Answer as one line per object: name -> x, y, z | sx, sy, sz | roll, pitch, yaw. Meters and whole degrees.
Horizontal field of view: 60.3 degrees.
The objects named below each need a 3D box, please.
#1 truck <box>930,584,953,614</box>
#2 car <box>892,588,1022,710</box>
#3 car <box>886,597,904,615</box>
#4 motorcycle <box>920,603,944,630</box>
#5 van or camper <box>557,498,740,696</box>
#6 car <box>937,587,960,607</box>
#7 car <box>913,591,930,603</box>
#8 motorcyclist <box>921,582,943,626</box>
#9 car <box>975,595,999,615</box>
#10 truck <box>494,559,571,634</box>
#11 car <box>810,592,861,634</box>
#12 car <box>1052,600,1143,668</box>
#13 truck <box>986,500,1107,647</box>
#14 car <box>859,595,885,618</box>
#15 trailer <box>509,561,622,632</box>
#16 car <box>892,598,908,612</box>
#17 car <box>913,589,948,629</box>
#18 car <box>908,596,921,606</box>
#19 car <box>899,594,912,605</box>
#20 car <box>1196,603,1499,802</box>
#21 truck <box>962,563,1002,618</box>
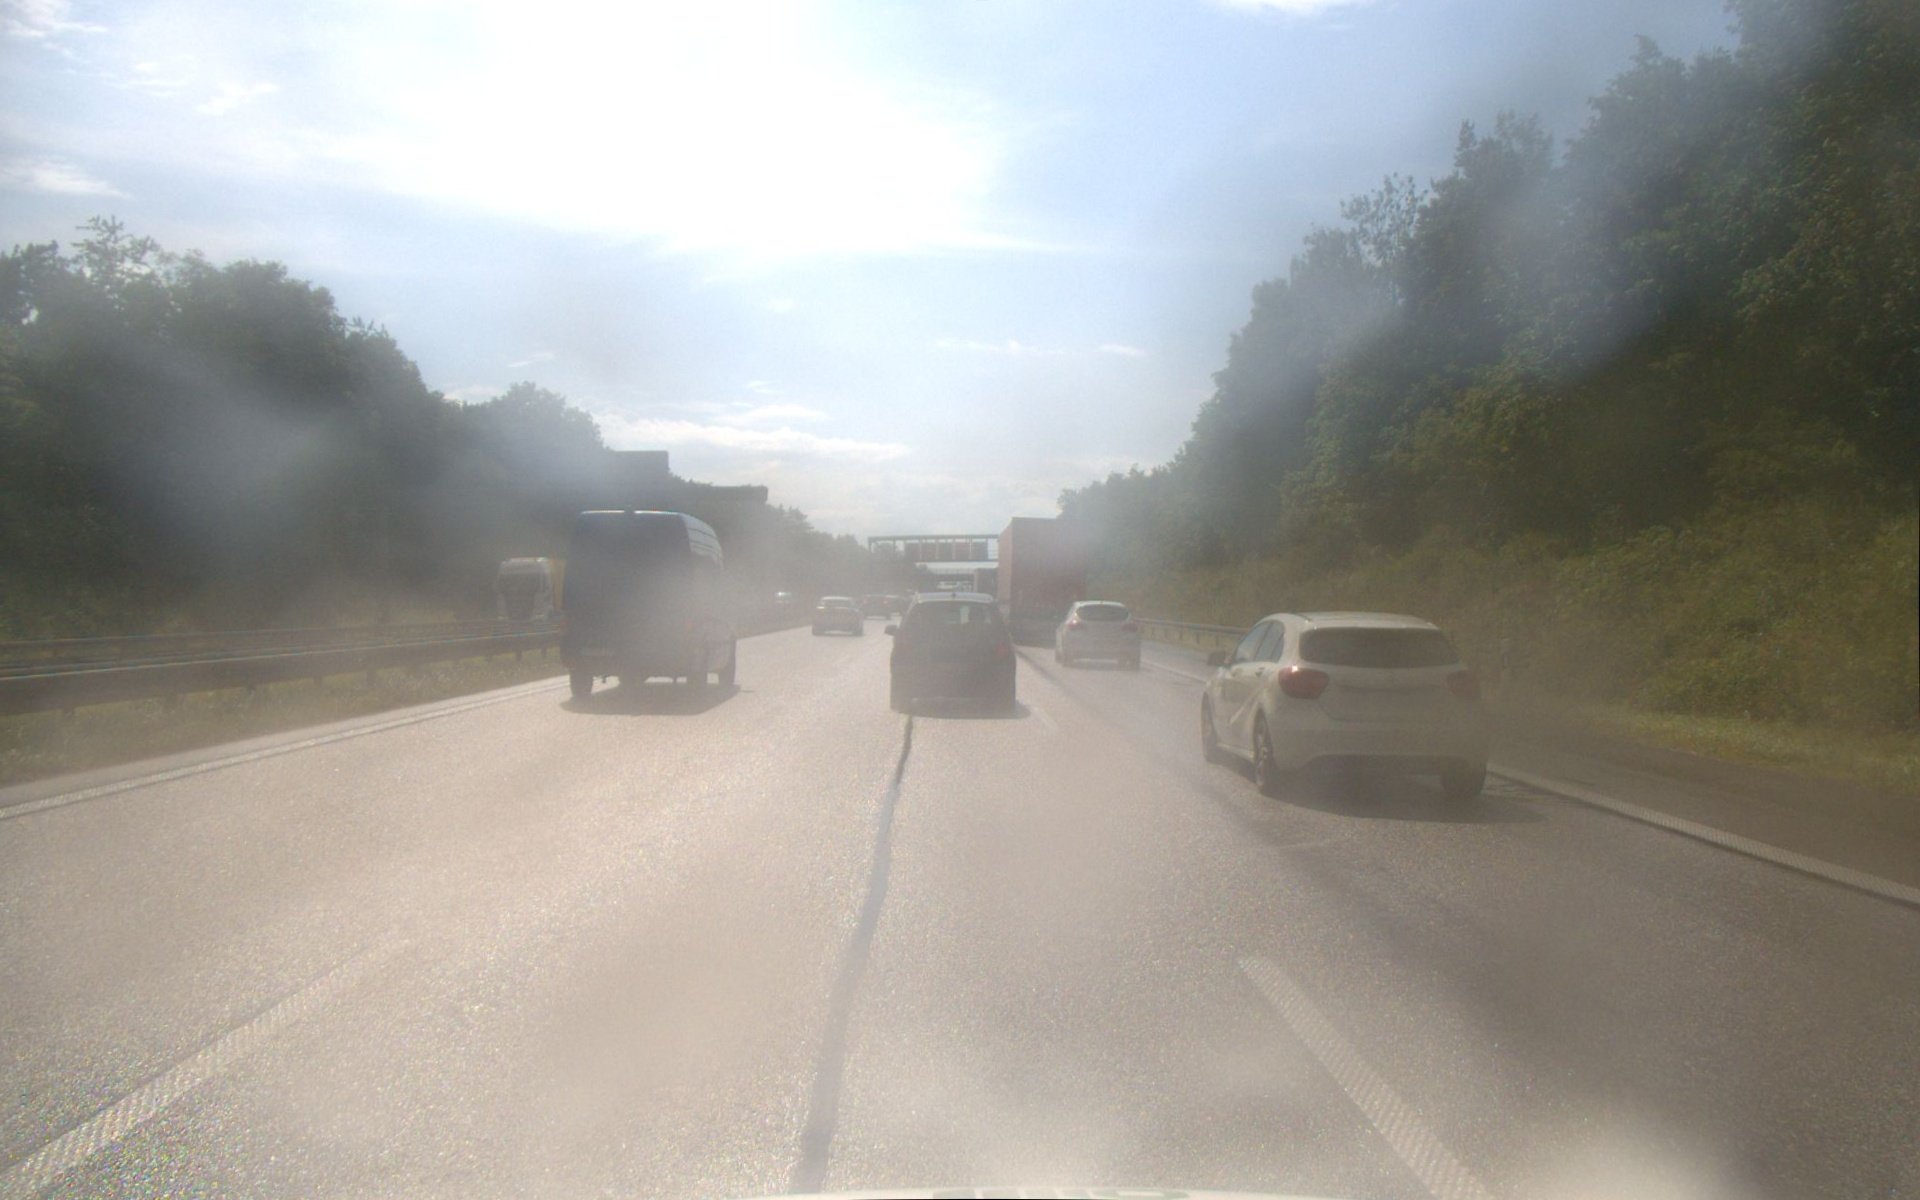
truck -> -1.853, -0.059, 165.627 | 2.148, 2.925, 4.847 | 1, 0, -2
car -> -0.100, 0.646, 23.560 | 1.683, 1.595, 3.483 | 1, 0, -2
car -> -5.414, 0.495, 137.551 | 1.431, 1.418, 3.310 | 1, 0, -2
motorcycle -> -1.094, 0.619, 63.550 | 0.873, 1.018, 2.895 | 1, 0, -2
van or camper -> -4.664, -0.040, 25.598 | 1.953, 2.715, 5.382 | 1, 0, -2
car -> -0.843, -0.202, 116.953 | 1.521, 1.407, 3.208 | 1, 0, -2
car -> -5.293, -0.429, 229.380 | 1.951, 1.731, 4.002 | 0, 0, 4
motorcyclist -> -1.070, 0.147, 63.507 | 0.785, 1.662, 1.013 | 1, 0, -2
car -> 1.938, 0.331, 117.445 | 1.521, 1.407, 3.208 | 1, 0, -2
truck -> -22.371, -0.180, 86.880 | 2.667, 3.728, 5.330 | 1, 0, -1
car -> -4.844, 0.495, 64.776 | 1.817, 1.578, 3.483 | 1, 0, -2
car -> 3.159, 0.752, 38.604 | 1.647, 1.467, 3.903 | 1, 0, -2
truck -> 2.972, -0.891, 62.965 | 3.575, 4.803, 16.777 | 1, 0, 0
car -> -5.919, 0.417, 111.628 | 1.716, 1.482, 3.388 | 1, 0, -2
trailer -> -22.445, -0.189, 95.309 | 2.667, 3.708, 16.674 | 1, 0, -1
car -> -5.897, 0.500, 162.479 | 1.518, 1.289, 3.483 | 1, 0, -2
car -> -1.378, 0.404, 76.308 | 1.501, 1.777, 3.483 | 1, 0, -2
car -> -5.727, 0.137, 208.940 | 1.518, 1.289, 3.483 | 1, 0, -2
car -> -6.448, -0.078, 194.408 | 1.518, 1.289, 3.483 | 1, 0, -2
car -> 3.199, 0.767, 14.465 | 1.657, 1.450, 4.220 | 1, 0, 0
truck -> 1.867, -0.786, 143.578 | 3.189, 4.558, 12.420 | 1, 0, 0
